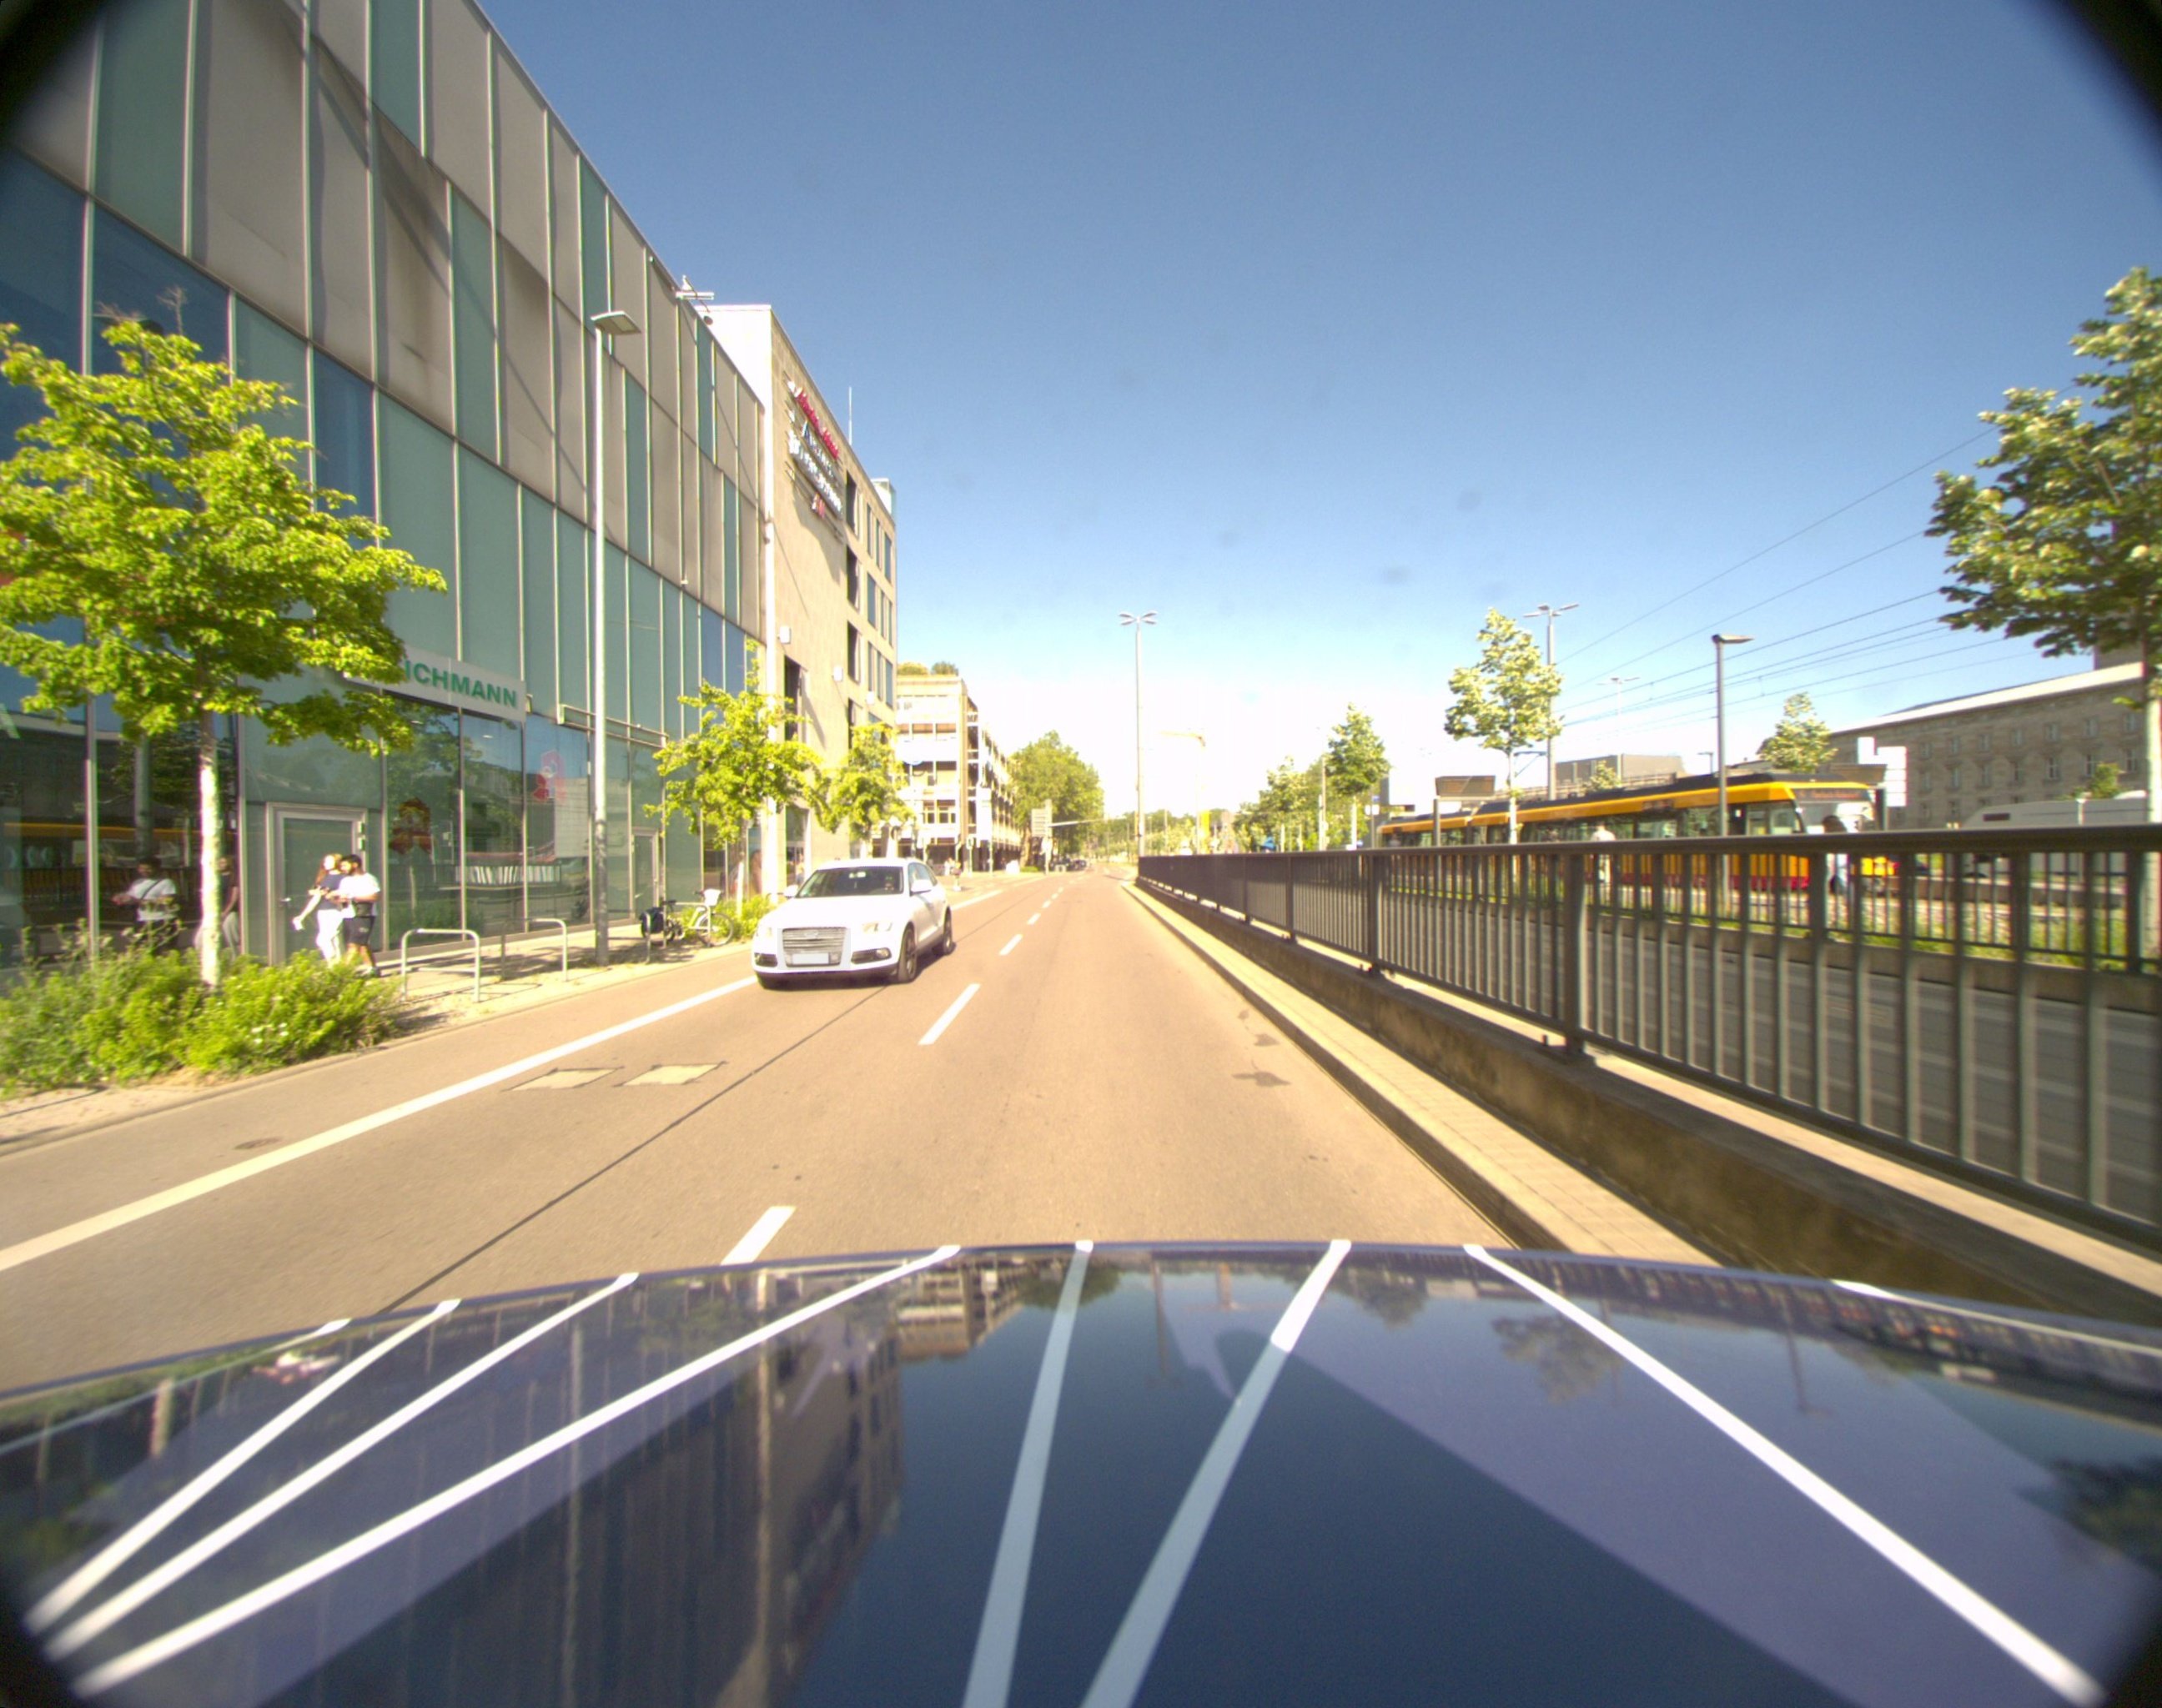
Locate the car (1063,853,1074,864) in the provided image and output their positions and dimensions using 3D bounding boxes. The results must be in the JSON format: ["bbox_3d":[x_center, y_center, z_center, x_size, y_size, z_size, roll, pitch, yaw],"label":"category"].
[{"bbox_3d":[-2.149,0.767,128.963,1.752,1.810,4.337,1,0,1],"label":"car"}]

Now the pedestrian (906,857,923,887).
[{"bbox_3d":[-9.027,0.959,41.177,0.725,1.598,0.750,0,0,2],"label":"pedestrian"}]

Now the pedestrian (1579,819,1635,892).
[{"bbox_3d":[13.316,0.040,19.256,0.763,1.764,0.826,-2,0,-2],"label":"pedestrian"}]

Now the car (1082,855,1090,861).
[{"bbox_3d":[1.332,0.963,202.587,1.999,1.597,3.896,-1,0,0],"label":"car"}]

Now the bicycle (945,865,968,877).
[{"bbox_3d":[-11.438,1.561,69.877,1.922,0.987,0.711,-3,0,-2],"label":"bicycle"}]

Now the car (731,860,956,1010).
[{"bbox_3d":[-3.100,0.953,10.966,1.824,1.604,4.412,-2,0,0],"label":"car"}]

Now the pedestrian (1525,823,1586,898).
[{"bbox_3d":[11.613,0.167,18.624,0.793,1.764,0.979,-2,0,-2],"label":"pedestrian"}]

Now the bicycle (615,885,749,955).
[{"bbox_3d":[-7.558,1.229,14.443,2.089,1.198,0.951,0,1,7],"label":"bicycle"}]

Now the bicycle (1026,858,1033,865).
[{"bbox_3d":[-8.142,1.173,119.657,0.883,0.979,2.051,-1,0,1],"label":"bicycle"}]

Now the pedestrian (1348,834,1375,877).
[{"bbox_3d":[12.089,0.073,32.723,0.705,1.764,0.959,-2,0,-2],"label":"pedestrian"}]

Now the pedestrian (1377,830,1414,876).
[{"bbox_3d":[12.356,-0.031,29.910,0.876,1.764,1.189,-2,0,-2],"label":"pedestrian"}]

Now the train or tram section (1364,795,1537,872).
[{"bbox_3d":[18.913,-0.929,40.401,2.877,3.290,13.072,-3,0,1],"label":"train or tram section"}]

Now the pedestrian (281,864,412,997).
[{"bbox_3d":[-9.656,0.972,10.027,0.823,1.648,0.900,2,0,-3],"label":"pedestrian"}]

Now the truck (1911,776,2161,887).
[{"bbox_3d":[30.363,-0.680,22.565,2.725,2.952,7.953,-3,0,1],"label":"truck"}]

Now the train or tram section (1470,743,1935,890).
[{"bbox_3d":[18.666,-0.903,25.819,2.855,3.302,15.965,-3,0,1],"label":"train or tram section"}]

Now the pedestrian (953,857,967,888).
[{"bbox_3d":[-6.758,1.005,42.389,0.658,1.692,0.698,2,0,-1],"label":"pedestrian"}]

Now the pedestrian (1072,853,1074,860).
[{"bbox_3d":[-1.978,0.552,192.581,0.591,1.830,0.569,-1,0,1],"label":"pedestrian"}]

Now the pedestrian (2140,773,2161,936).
[{"bbox_3d":[12.289,0.007,8.022,0.771,1.800,1.031,-1,1,0],"label":"pedestrian"}]

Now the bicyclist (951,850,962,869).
[{"bbox_3d":[-11.436,0.486,69.879,0.852,1.677,0.711,-3,0,-4],"label":"bicyclist"}]

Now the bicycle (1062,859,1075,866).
[{"bbox_3d":[-1.751,1.260,108.325,1.848,0.954,0.711,1,0,-3],"label":"bicycle"}]

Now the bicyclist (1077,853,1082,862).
[{"bbox_3d":[-0.241,0.503,119.071,0.830,1.380,0.904,-1,0,2],"label":"bicyclist"}]

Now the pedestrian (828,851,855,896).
[{"bbox_3d":[-9.816,0.796,31.180,0.729,1.791,1.066,1,1,1],"label":"pedestrian"}]

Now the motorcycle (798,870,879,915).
[{"bbox_3d":[-7.410,1.171,23.306,2.193,1.316,0.903,0,1,5],"label":"motorcycle"}]

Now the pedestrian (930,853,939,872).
[{"bbox_3d":[-12.129,0.691,62.746,0.662,1.603,0.526,1,1,-8],"label":"pedestrian"}]

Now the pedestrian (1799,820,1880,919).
[{"bbox_3d":[11.995,0.236,12.031,0.649,1.503,0.588,-2,0,-2],"label":"pedestrian"}]

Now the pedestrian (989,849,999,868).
[{"bbox_3d":[-9.563,0.473,83.673,0.950,2.002,1.078,-1,0,-10],"label":"pedestrian"}]

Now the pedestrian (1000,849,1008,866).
[{"bbox_3d":[-9.401,0.452,93.247,0.949,2.002,1.079,-1,0,-6],"label":"pedestrian"}]

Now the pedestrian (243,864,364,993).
[{"bbox_3d":[-10.455,0.969,10.257,0.708,1.648,0.900,1,1,-3],"label":"pedestrian"}]

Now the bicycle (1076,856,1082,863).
[{"bbox_3d":[-0.244,0.883,119.071,0.845,1.123,2.553,-1,0,2],"label":"bicycle"}]

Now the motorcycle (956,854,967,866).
[{"bbox_3d":[-14.180,0.745,90.241,0.825,1.433,2.122,-1,0,2],"label":"motorcycle"}]

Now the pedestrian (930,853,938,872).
[{"bbox_3d":[-12.262,0.705,63.380,0.662,1.603,0.526,1,1,-8],"label":"pedestrian"}]

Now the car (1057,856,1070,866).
[{"bbox_3d":[-2.658,1.052,116.522,1.752,1.481,4.560,1,0,1],"label":"car"}]
